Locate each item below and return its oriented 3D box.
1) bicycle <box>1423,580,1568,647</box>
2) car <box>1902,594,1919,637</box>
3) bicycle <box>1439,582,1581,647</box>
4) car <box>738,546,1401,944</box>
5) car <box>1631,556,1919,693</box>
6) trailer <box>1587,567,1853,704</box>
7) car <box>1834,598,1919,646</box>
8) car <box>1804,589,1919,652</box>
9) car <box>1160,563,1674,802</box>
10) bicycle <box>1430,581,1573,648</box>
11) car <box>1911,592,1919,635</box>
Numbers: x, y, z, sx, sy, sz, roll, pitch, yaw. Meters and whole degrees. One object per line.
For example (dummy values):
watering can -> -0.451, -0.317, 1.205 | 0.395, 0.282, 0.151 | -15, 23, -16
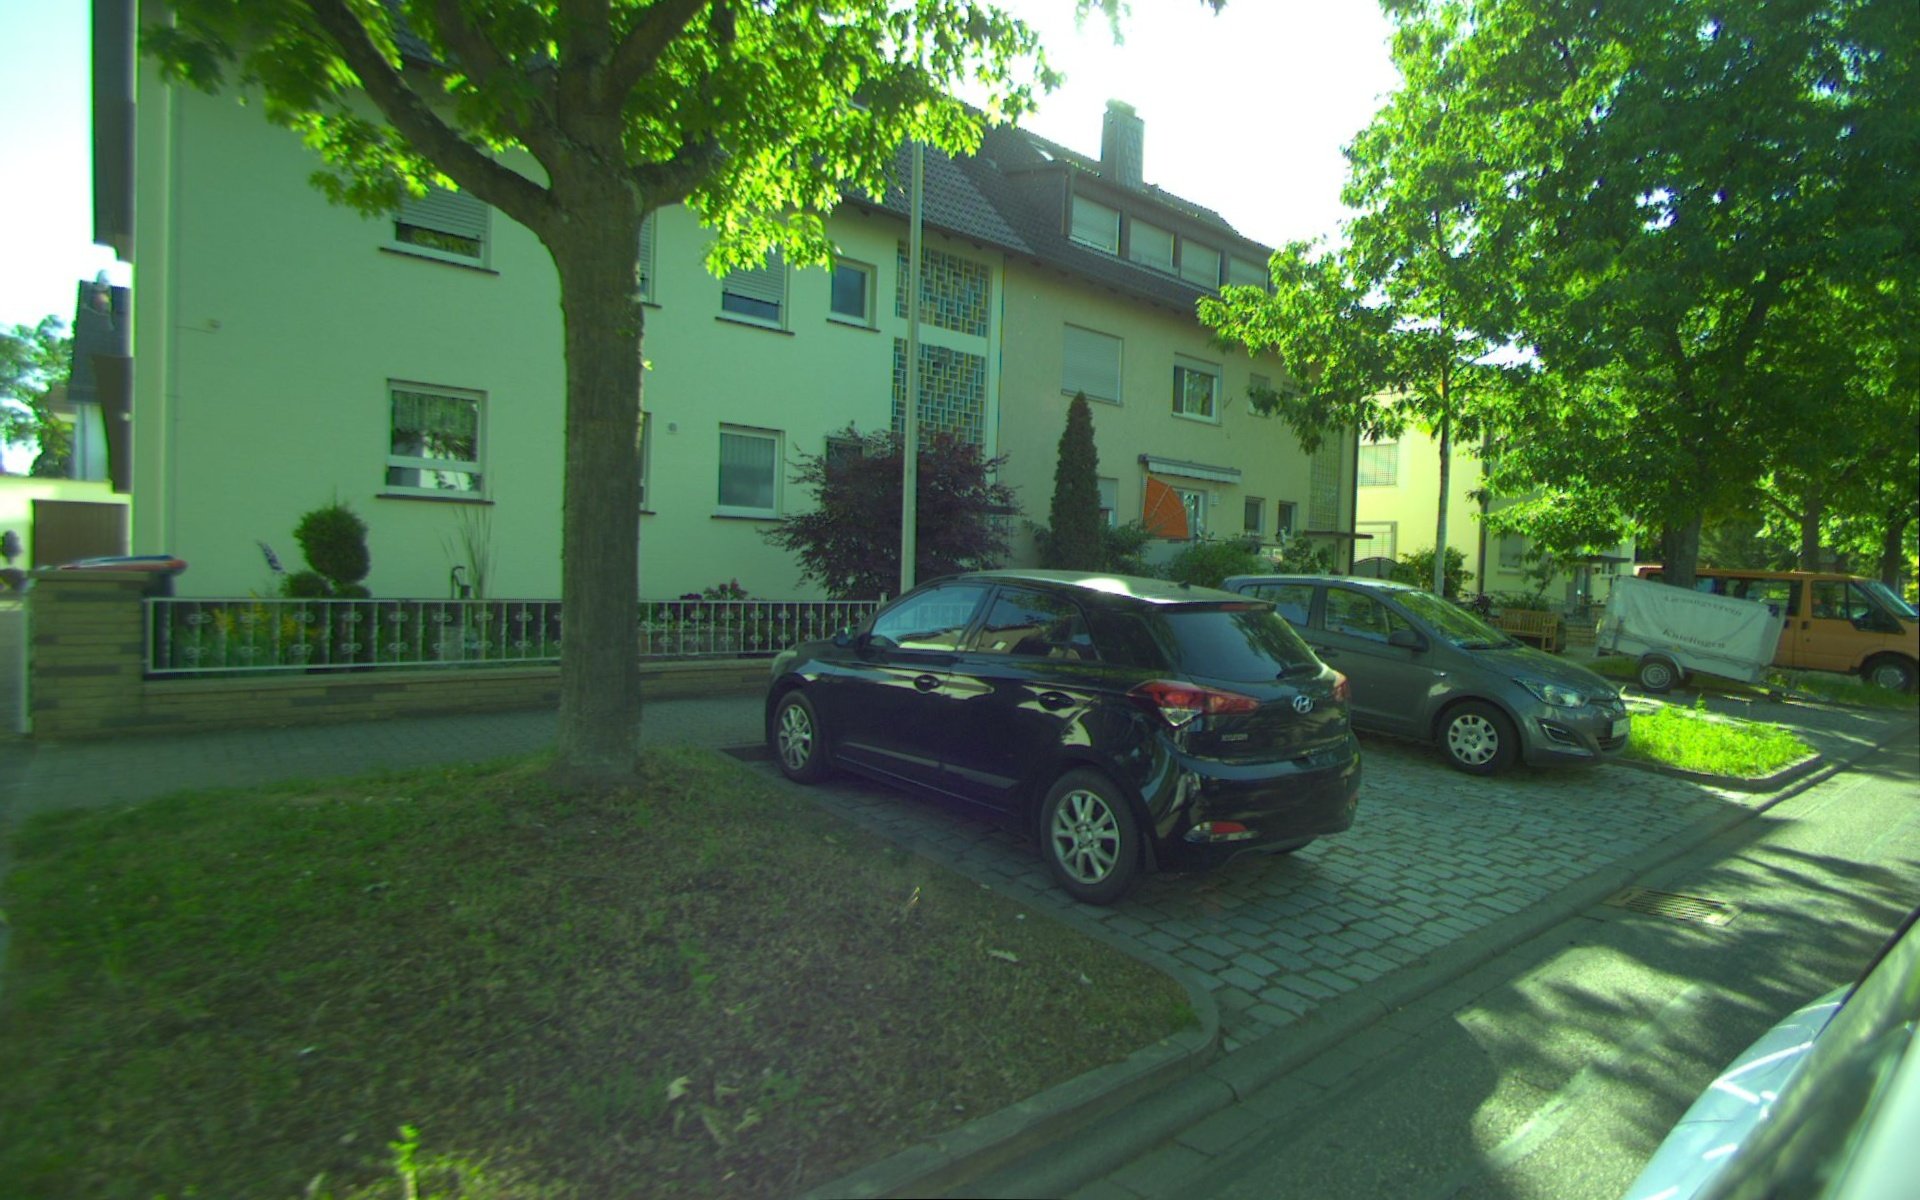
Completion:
bicycle -> 11.930, 0.264, 22.667 | 0.459, 1.252, 2.867 | 1, 3, -38
car -> 36.869, 0.731, 36.223 | 1.807, 1.548, 4.332 | 1, 4, -39
bicycle -> 12.625, 0.293, 23.344 | 0.459, 1.252, 2.867 | 0, 4, -38
car -> 0.321, 0.488, 6.031 | 1.631, 1.534, 3.892 | 0, 3, -39
car -> 15.210, 0.361, 18.172 | 2.048, 2.109, 4.831 | 1, 3, -39
trailer -> 11.474, 0.446, 15.370 | 1.589, 1.684, 2.949 | -1, 5, -45
car -> 30.831, 0.784, 32.043 | 1.659, 1.347, 4.444 | 1, 4, -36
car -> 27.015, 0.639, 28.730 | 1.834, 1.579, 4.350 | 1, 4, -40
car -> 4.041, 0.541, 9.463 | 1.727, 1.643, 3.994 | -1, 3, -42
bicycle -> 12.252, 0.299, 23.044 | 0.459, 1.252, 2.868 | 0, 5, -38
car -> 39.098, 0.700, 38.043 | 1.805, 1.666, 4.588 | 1, 4, -38
